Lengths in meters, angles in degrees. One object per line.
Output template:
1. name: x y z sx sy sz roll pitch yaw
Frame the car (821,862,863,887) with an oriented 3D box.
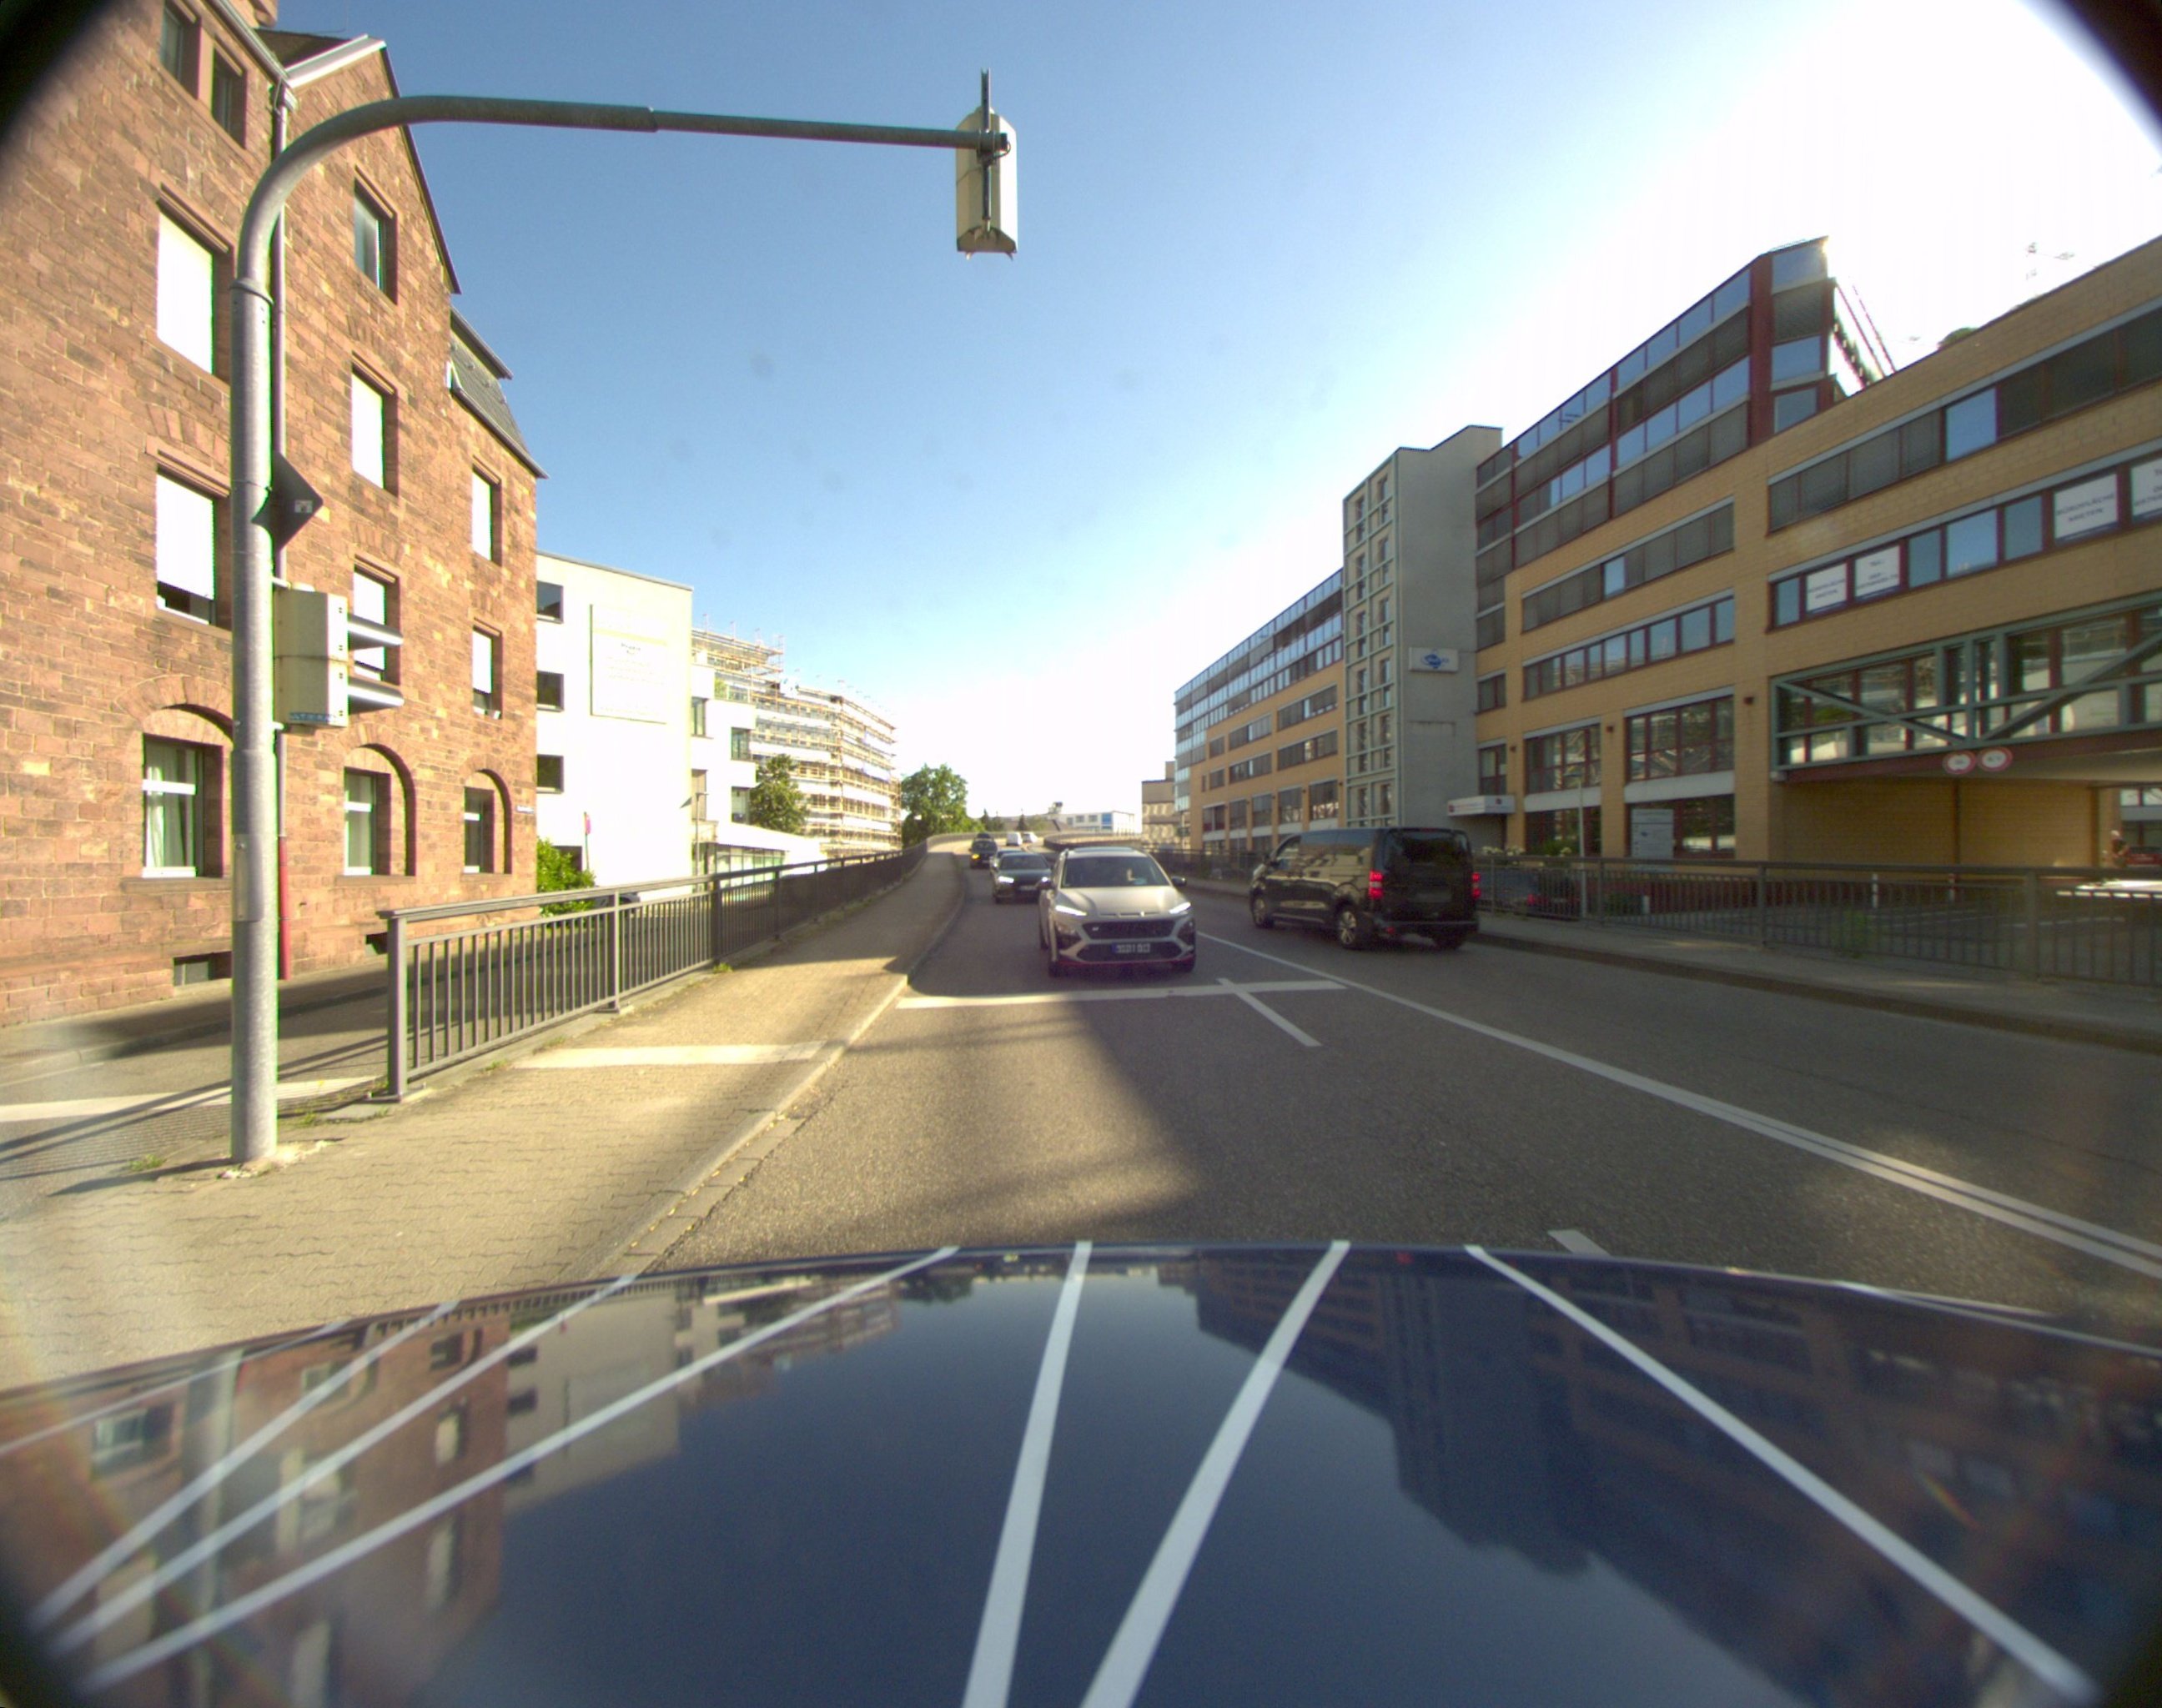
1. car: -15.355 1.273 48.934 1.850 1.526 3.997 0 0 -7

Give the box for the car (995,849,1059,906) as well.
1. car: -1.734 0.645 23.341 1.722 1.483 4.165 -1 2 -7

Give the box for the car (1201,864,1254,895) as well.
1. car: 8.759 1.490 45.868 2.000 1.714 3.997 0 0 -7

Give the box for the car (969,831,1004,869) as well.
1. car: -6.098 -0.311 48.708 1.911 2.202 4.592 -1 3 -11

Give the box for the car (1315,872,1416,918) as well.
1. car: 11.195 1.572 30.271 1.826 1.594 4.353 0 0 -10

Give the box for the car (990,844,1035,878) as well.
1. car: -3.466 0.297 37.782 1.850 1.527 4.503 -1 2 -9

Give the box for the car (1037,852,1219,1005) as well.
1. car: 0.397 0.792 10.269 1.850 1.561 4.218 -1 1 -5

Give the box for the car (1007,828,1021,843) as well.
1. car: -8.965 -2.485 101.946 1.816 1.791 5.118 0 0 -6

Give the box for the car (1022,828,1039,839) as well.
1. car: -7.739 -3.096 116.339 1.823 1.594 4.002 -1 1 7

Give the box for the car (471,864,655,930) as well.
1. car: -16.888 1.322 24.983 1.823 1.757 4.658 1 2 43

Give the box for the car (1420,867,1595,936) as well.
1. car: 12.489 1.308 22.684 1.957 1.747 4.683 -1 0 -11

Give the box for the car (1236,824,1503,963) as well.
1. car: 4.588 0.553 13.091 2.001 1.924 4.846 0 0 -12

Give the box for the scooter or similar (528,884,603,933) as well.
1. scooter or similar: -14.195 1.489 20.959 1.463 1.212 0.784 -3 1 -14

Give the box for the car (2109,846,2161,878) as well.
1. car: 53.835 0.384 38.738 3.159 1.564 1.639 0 -1 -37

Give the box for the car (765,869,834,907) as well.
1. car: -12.918 1.518 35.178 1.850 1.422 4.678 -1 2 -6
